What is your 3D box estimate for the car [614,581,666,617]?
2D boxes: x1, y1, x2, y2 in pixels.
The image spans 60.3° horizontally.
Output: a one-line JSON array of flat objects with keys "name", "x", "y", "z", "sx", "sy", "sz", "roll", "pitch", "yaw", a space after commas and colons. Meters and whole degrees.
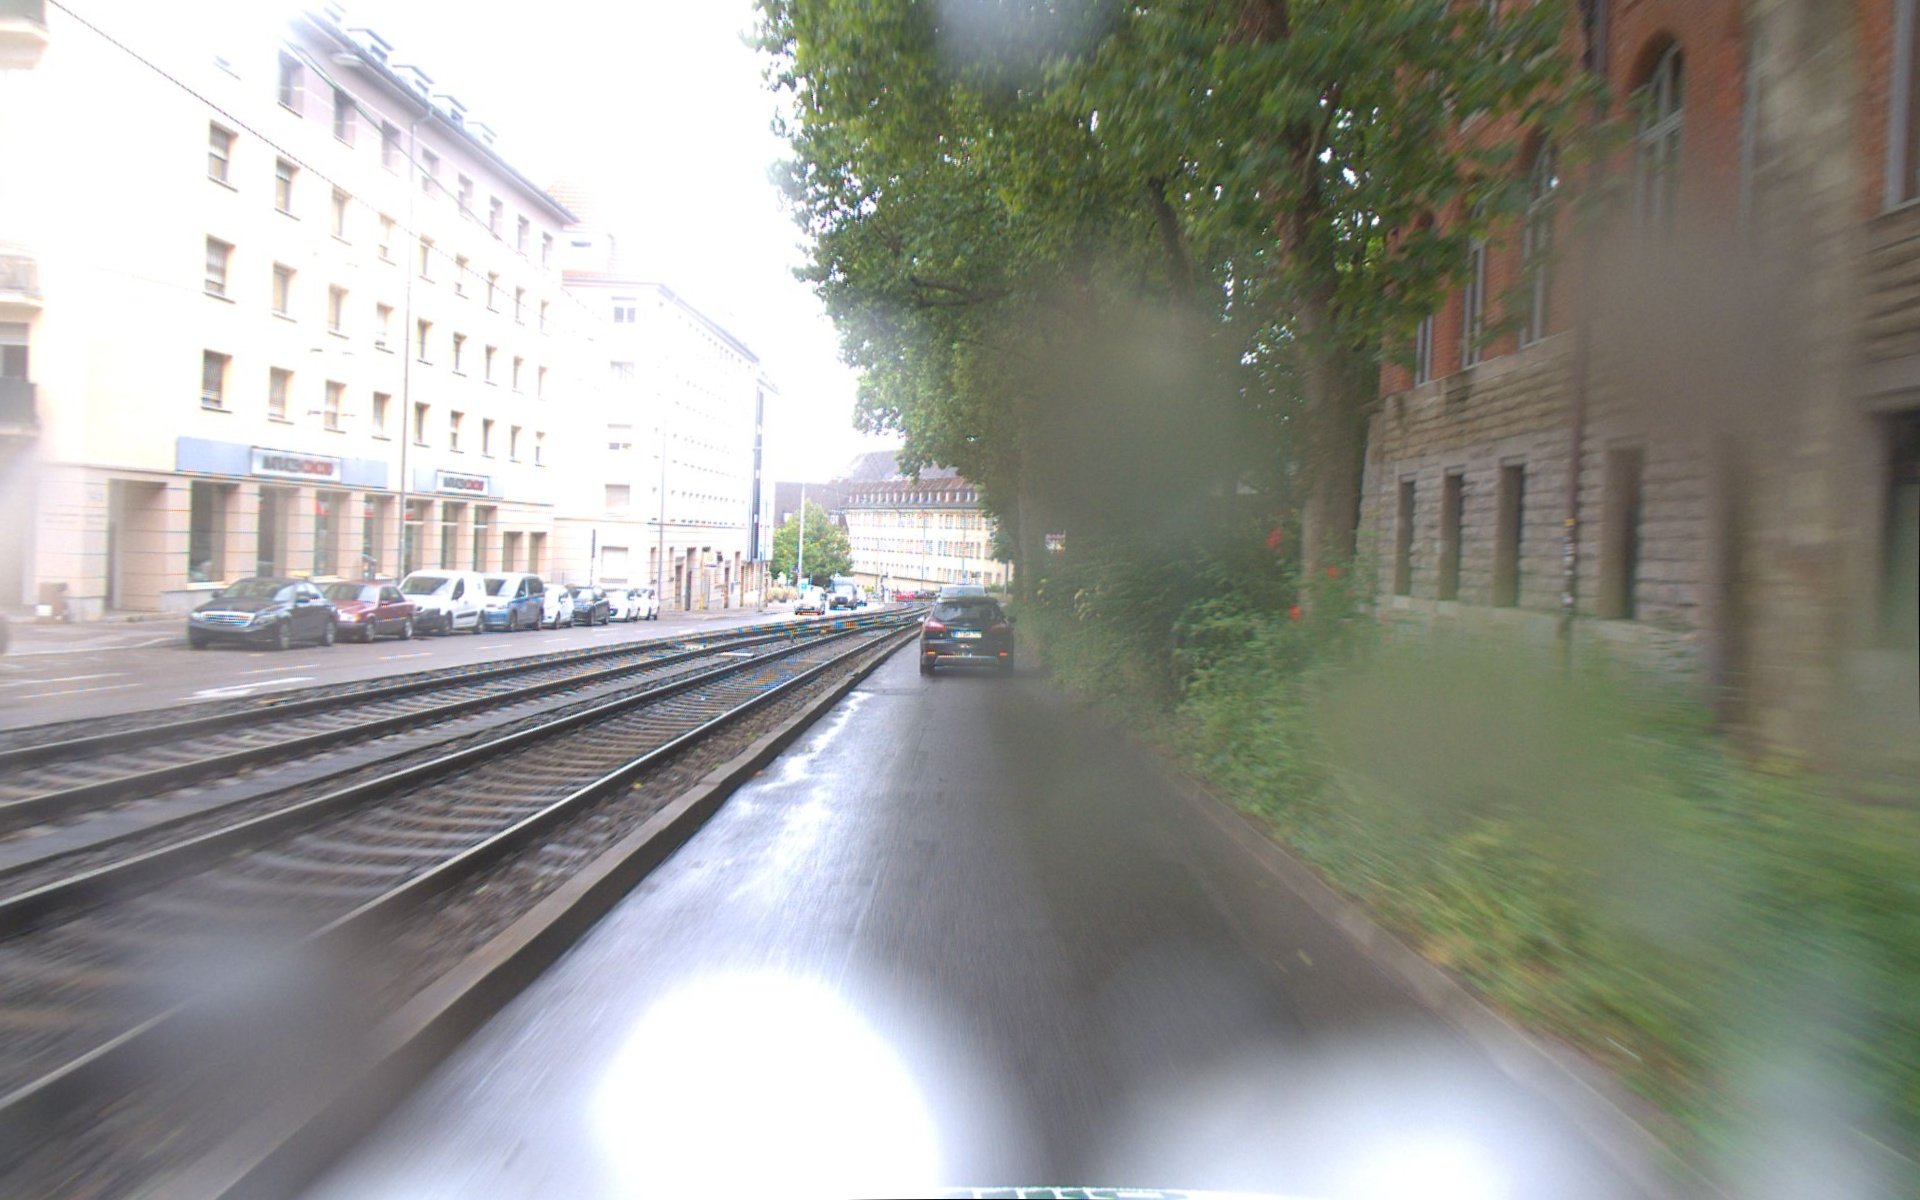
[{"name": "car", "x": -14.504, "y": -0.025, "z": 75.045, "sx": 1.674, "sy": 1.475, "sz": 3.540, "roll": 4, "pitch": 0, "yaw": -2}]

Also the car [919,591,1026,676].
[{"name": "car", "x": 0.175, "y": 0.631, "z": 32.465, "sx": 1.894, "sy": 1.478, "sz": 4.316, "roll": 2, "pitch": 0, "yaw": -2}]

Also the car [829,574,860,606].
[{"name": "car", "x": -9.421, "y": -0.791, "z": 135.193, "sx": 1.952, "sy": 2.494, "sz": 5.998, "roll": 1, "pitch": -1, "yaw": 1}]

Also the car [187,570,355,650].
[{"name": "car", "x": -14.621, "y": 0.216, "z": 35.404, "sx": 1.815, "sy": 1.534, "sz": 4.987, "roll": 1, "pitch": 0, "yaw": -5}]

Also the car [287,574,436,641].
[{"name": "car", "x": -14.701, "y": 0.188, "z": 40.921, "sx": 1.813, "sy": 1.457, "sz": 4.832, "roll": 3, "pitch": 0, "yaw": 1}]

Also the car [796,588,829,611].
[{"name": "car", "x": -9.703, "y": -0.041, "z": 109.215, "sx": 1.676, "sy": 1.488, "sz": 4.281, "roll": 1, "pitch": 0, "yaw": 1}]

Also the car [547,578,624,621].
[{"name": "car", "x": -14.289, "y": -0.023, "z": 63.353, "sx": 1.776, "sy": 1.525, "sz": 4.582, "roll": 3, "pitch": 0, "yaw": 0}]

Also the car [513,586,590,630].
[{"name": "car", "x": -14.297, "y": 0.277, "z": 58.066, "sx": 1.656, "sy": 1.464, "sz": 4.049, "roll": 1, "pitch": 0, "yaw": 0}]

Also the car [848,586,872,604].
[{"name": "car", "x": -9.328, "y": -0.455, "z": 154.557, "sx": 1.841, "sy": 1.512, "sz": 4.855, "roll": 1, "pitch": 1, "yaw": 1}]

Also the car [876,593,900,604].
[{"name": "car", "x": -10.029, "y": -0.248, "z": 230.080, "sx": 1.969, "sy": 1.569, "sz": 3.967, "roll": 0, "pitch": 0, "yaw": -26}]

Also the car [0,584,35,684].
[{"name": "car", "x": -14.470, "y": 0.450, "z": 22.083, "sx": 1.645, "sy": 1.420, "sz": 4.621, "roll": 1, "pitch": 0, "yaw": -1}]

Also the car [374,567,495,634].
[{"name": "car", "x": -14.721, "y": 0.028, "z": 46.584, "sx": 1.828, "sy": 1.747, "sz": 4.460, "roll": 1, "pitch": 0, "yaw": 1}]

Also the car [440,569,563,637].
[{"name": "car", "x": -14.527, "y": 0.102, "z": 52.721, "sx": 1.952, "sy": 1.938, "sz": 5.462, "roll": 3, "pitch": 0, "yaw": 4}]

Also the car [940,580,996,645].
[{"name": "car", "x": 0.226, "y": 0.420, "z": 55.058, "sx": 1.705, "sy": 2.049, "sz": 3.902, "roll": 2, "pitch": 0, "yaw": -1}]

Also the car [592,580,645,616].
[{"name": "car", "x": -14.532, "y": -0.094, "z": 70.537, "sx": 1.670, "sy": 1.421, "sz": 3.932, "roll": 2, "pitch": 0, "yaw": -4}]
